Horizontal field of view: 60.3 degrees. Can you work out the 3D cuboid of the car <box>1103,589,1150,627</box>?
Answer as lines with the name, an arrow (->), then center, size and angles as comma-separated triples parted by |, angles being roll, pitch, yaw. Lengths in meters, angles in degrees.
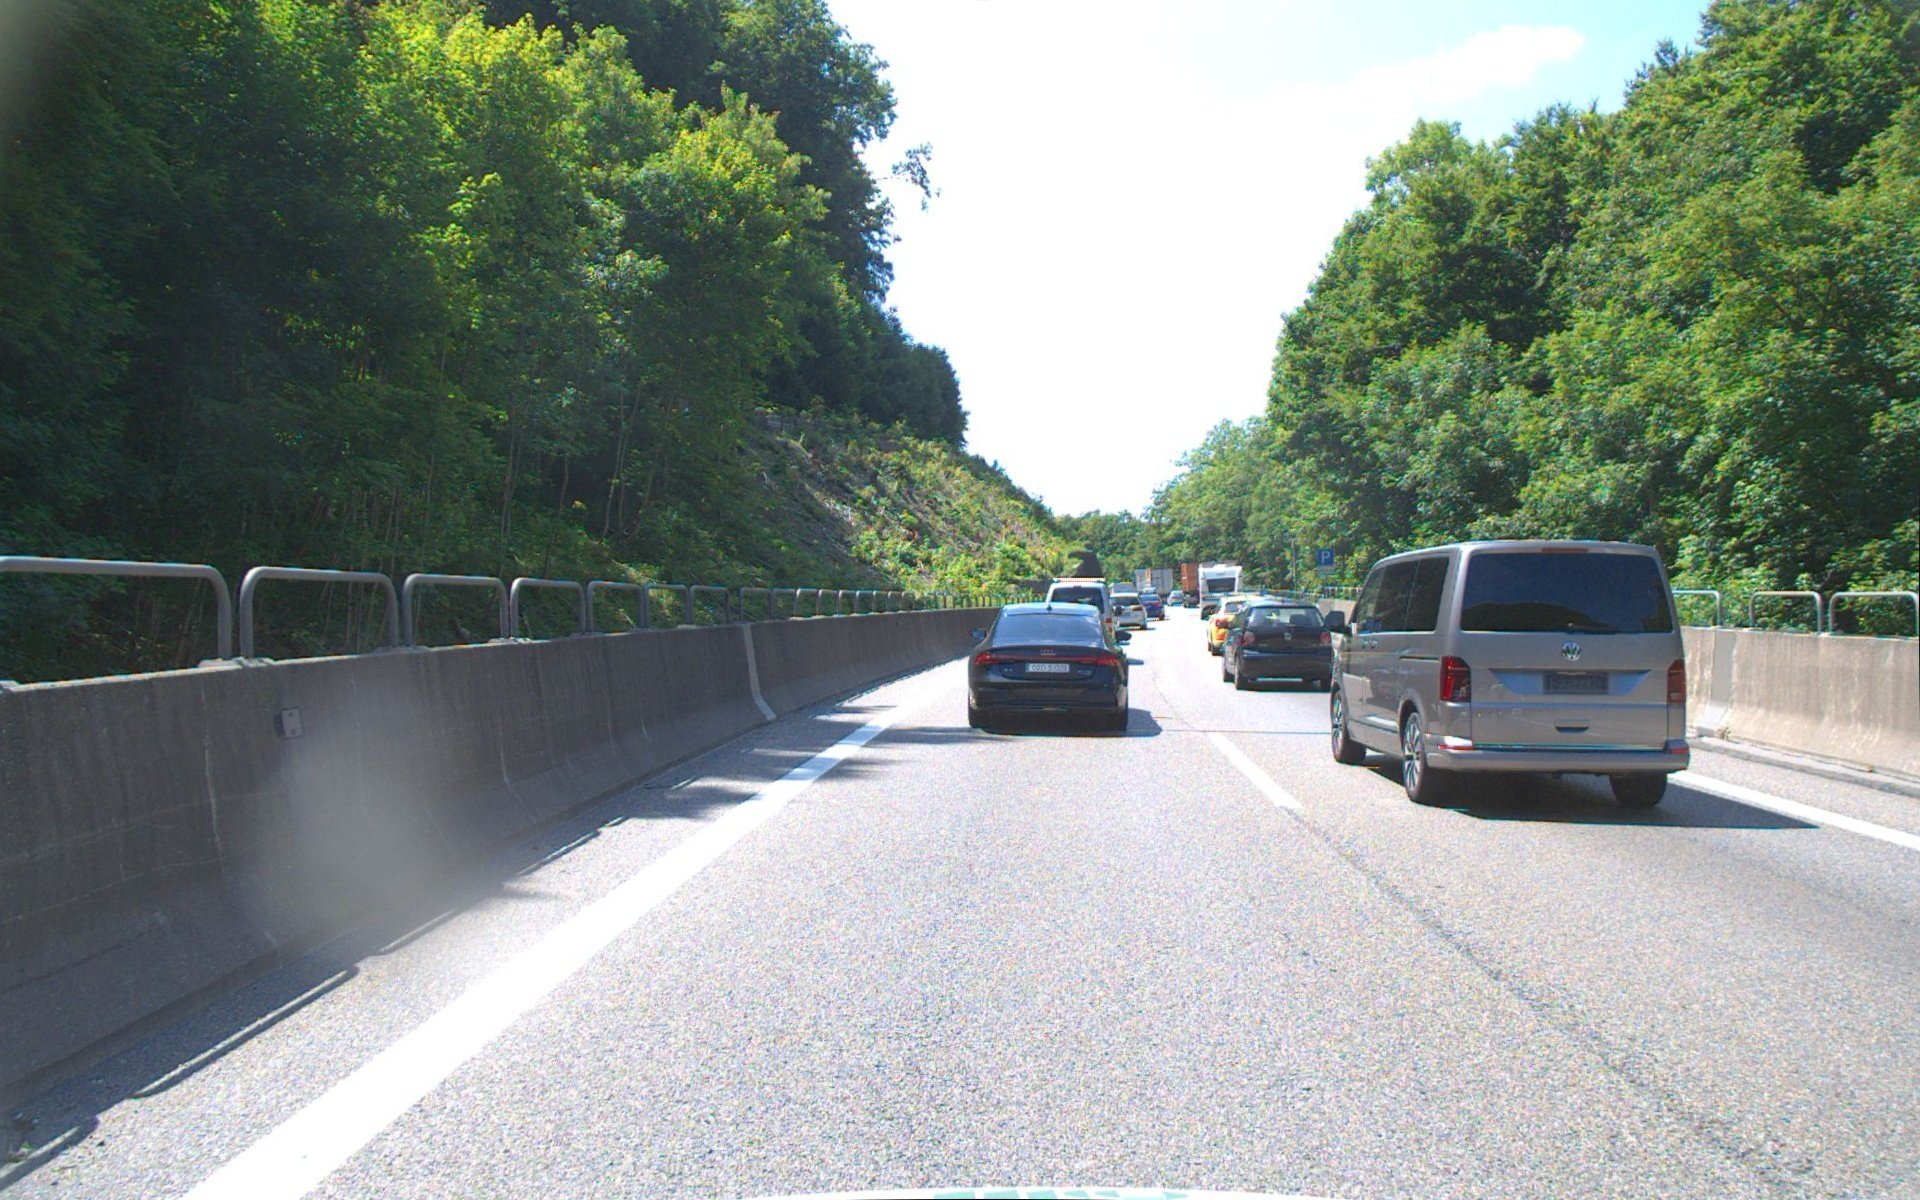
car -> 7.078, 0.327, 70.549 | 1.855, 1.612, 3.773 | 0, 0, 3

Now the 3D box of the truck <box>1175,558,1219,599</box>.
truck -> 20.858, -1.856, 145.960 | 3.097, 3.529, 8.224 | 0, 0, 2

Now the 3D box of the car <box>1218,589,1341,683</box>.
car -> 5.383, 0.564, 28.269 | 1.649, 1.484, 4.002 | 0, 0, 5

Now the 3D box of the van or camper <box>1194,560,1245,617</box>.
van or camper -> 13.698, -0.620, 87.512 | 2.548, 2.905, 6.341 | 0, 0, 8

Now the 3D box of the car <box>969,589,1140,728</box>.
car -> 1.114, 0.628, 20.254 | 1.865, 1.515, 4.380 | 0, 0, 2

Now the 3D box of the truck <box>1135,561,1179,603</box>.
truck -> 21.930, -1.999, 184.634 | 3.636, 4.583, 7.720 | 0, 0, -2

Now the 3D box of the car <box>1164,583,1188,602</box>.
car -> 21.660, -0.739, 165.980 | 1.952, 1.892, 4.001 | 0, 0, 2

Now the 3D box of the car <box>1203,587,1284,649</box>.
car -> 7.192, 0.434, 42.327 | 1.770, 1.503, 4.084 | 0, 0, 6

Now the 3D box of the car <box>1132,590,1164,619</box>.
car -> 10.618, 0.254, 93.236 | 1.713, 1.598, 3.774 | 0, 0, 7

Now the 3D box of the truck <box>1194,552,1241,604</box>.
truck -> 19.285, -1.602, 124.092 | 2.863, 3.751, 7.728 | 0, 0, 4

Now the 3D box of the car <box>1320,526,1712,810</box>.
car -> 4.373, 0.463, 13.838 | 1.900, 1.965, 4.696 | 0, 0, 3

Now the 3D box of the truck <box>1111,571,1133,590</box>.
truck -> 17.483, -2.071, 178.683 | 1.952, 2.049, 4.000 | 0, 0, 1

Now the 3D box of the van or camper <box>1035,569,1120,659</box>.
van or camper -> 2.789, 0.305, 38.544 | 1.814, 1.976, 4.168 | 0, 0, 6
